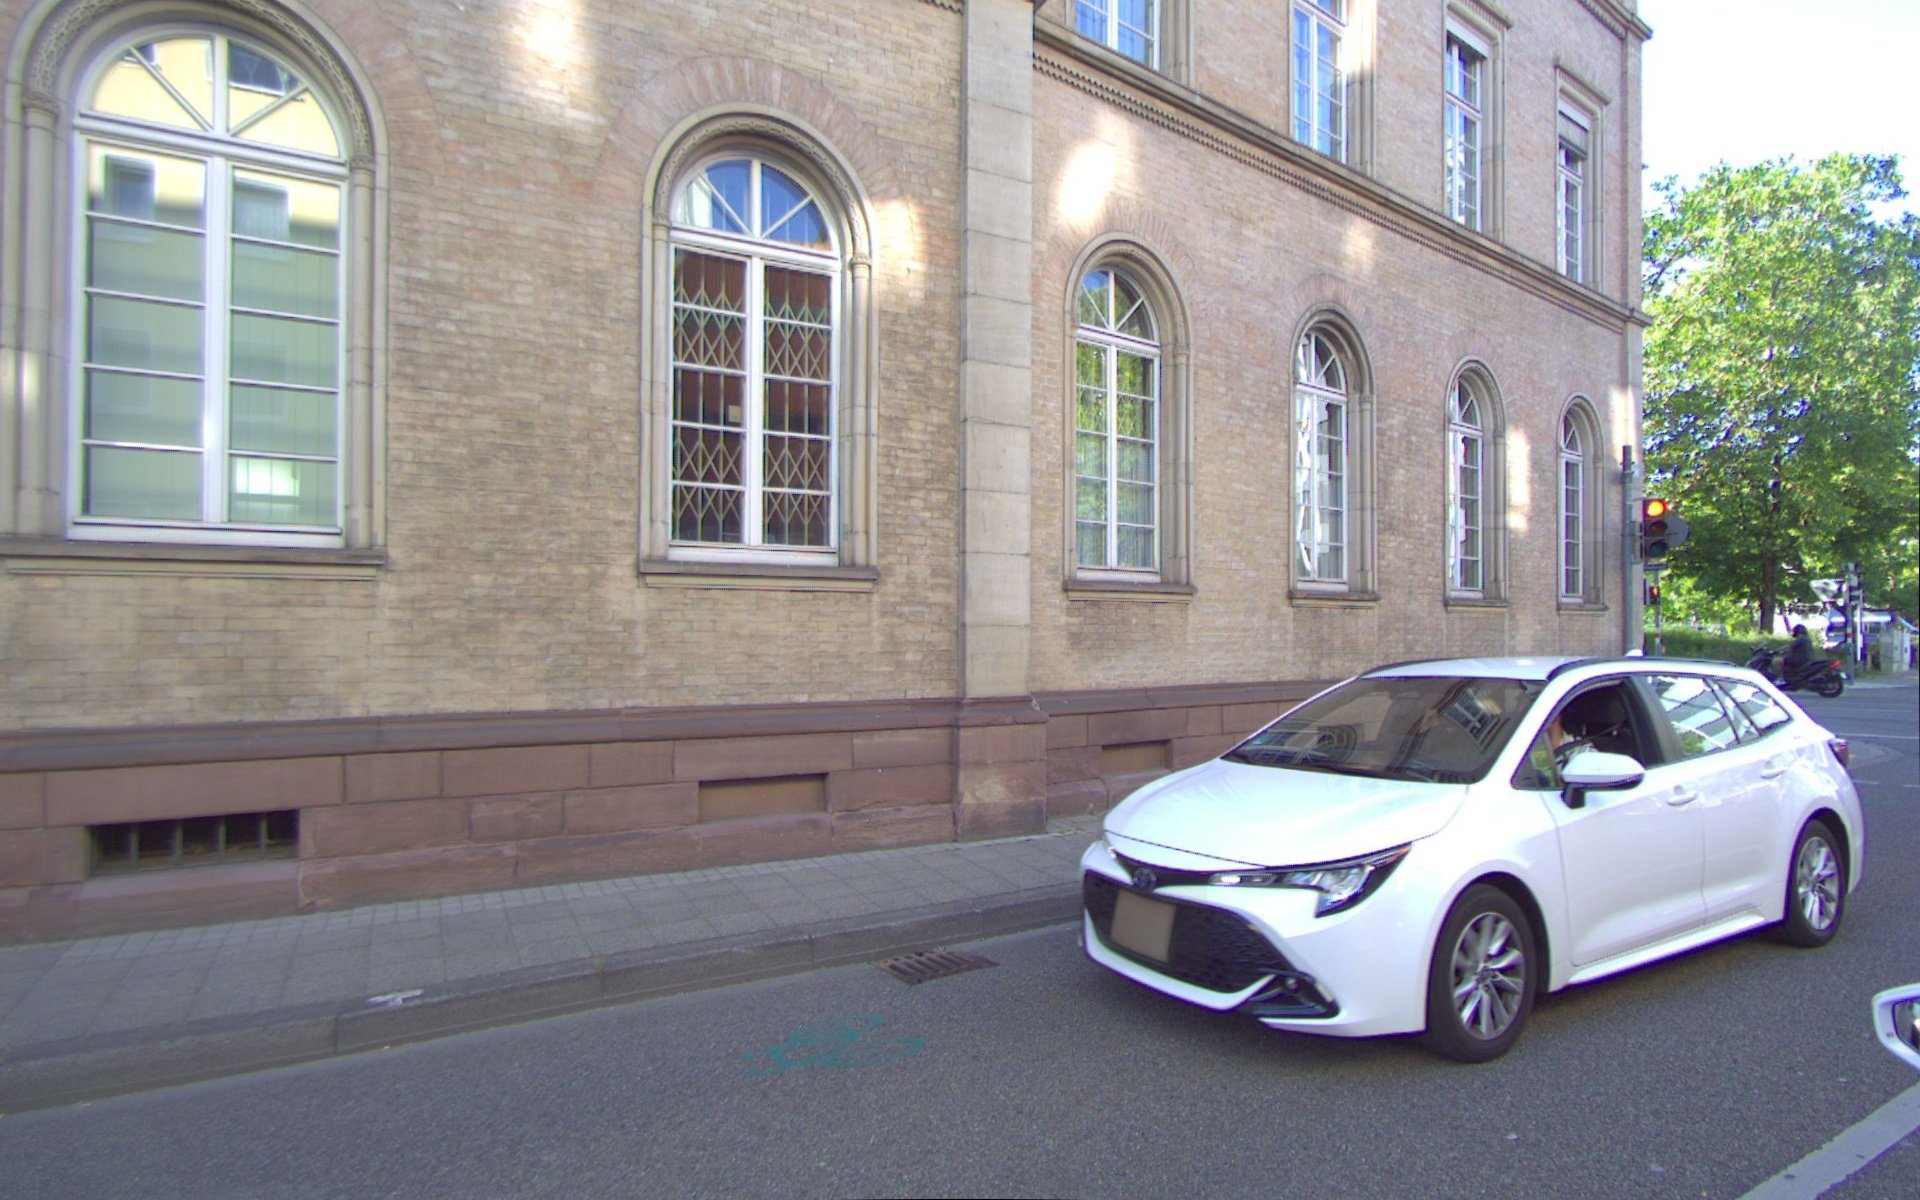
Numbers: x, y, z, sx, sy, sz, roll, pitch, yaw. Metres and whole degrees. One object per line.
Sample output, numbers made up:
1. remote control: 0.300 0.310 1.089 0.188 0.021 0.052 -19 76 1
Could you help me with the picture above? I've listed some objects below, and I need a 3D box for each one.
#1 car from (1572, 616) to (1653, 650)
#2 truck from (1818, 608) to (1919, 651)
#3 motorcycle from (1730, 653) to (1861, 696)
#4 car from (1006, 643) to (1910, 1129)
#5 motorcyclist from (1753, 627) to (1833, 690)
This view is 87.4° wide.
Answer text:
1. car: 47.836 2.466 73.721 2.056 2.423 4.521 2 -3 -38
2. truck: 53.762 1.670 59.068 2.069 2.431 4.790 1 -1 -39
3. motorcycle: 19.946 1.751 24.043 0.811 0.900 2.286 1 -1 -30
4. car: 2.627 0.985 5.072 4.490 1.495 1.879 1 -4 -30
5. motorcyclist: 19.944 1.379 24.063 0.811 1.438 1.288 1 -1 -31
